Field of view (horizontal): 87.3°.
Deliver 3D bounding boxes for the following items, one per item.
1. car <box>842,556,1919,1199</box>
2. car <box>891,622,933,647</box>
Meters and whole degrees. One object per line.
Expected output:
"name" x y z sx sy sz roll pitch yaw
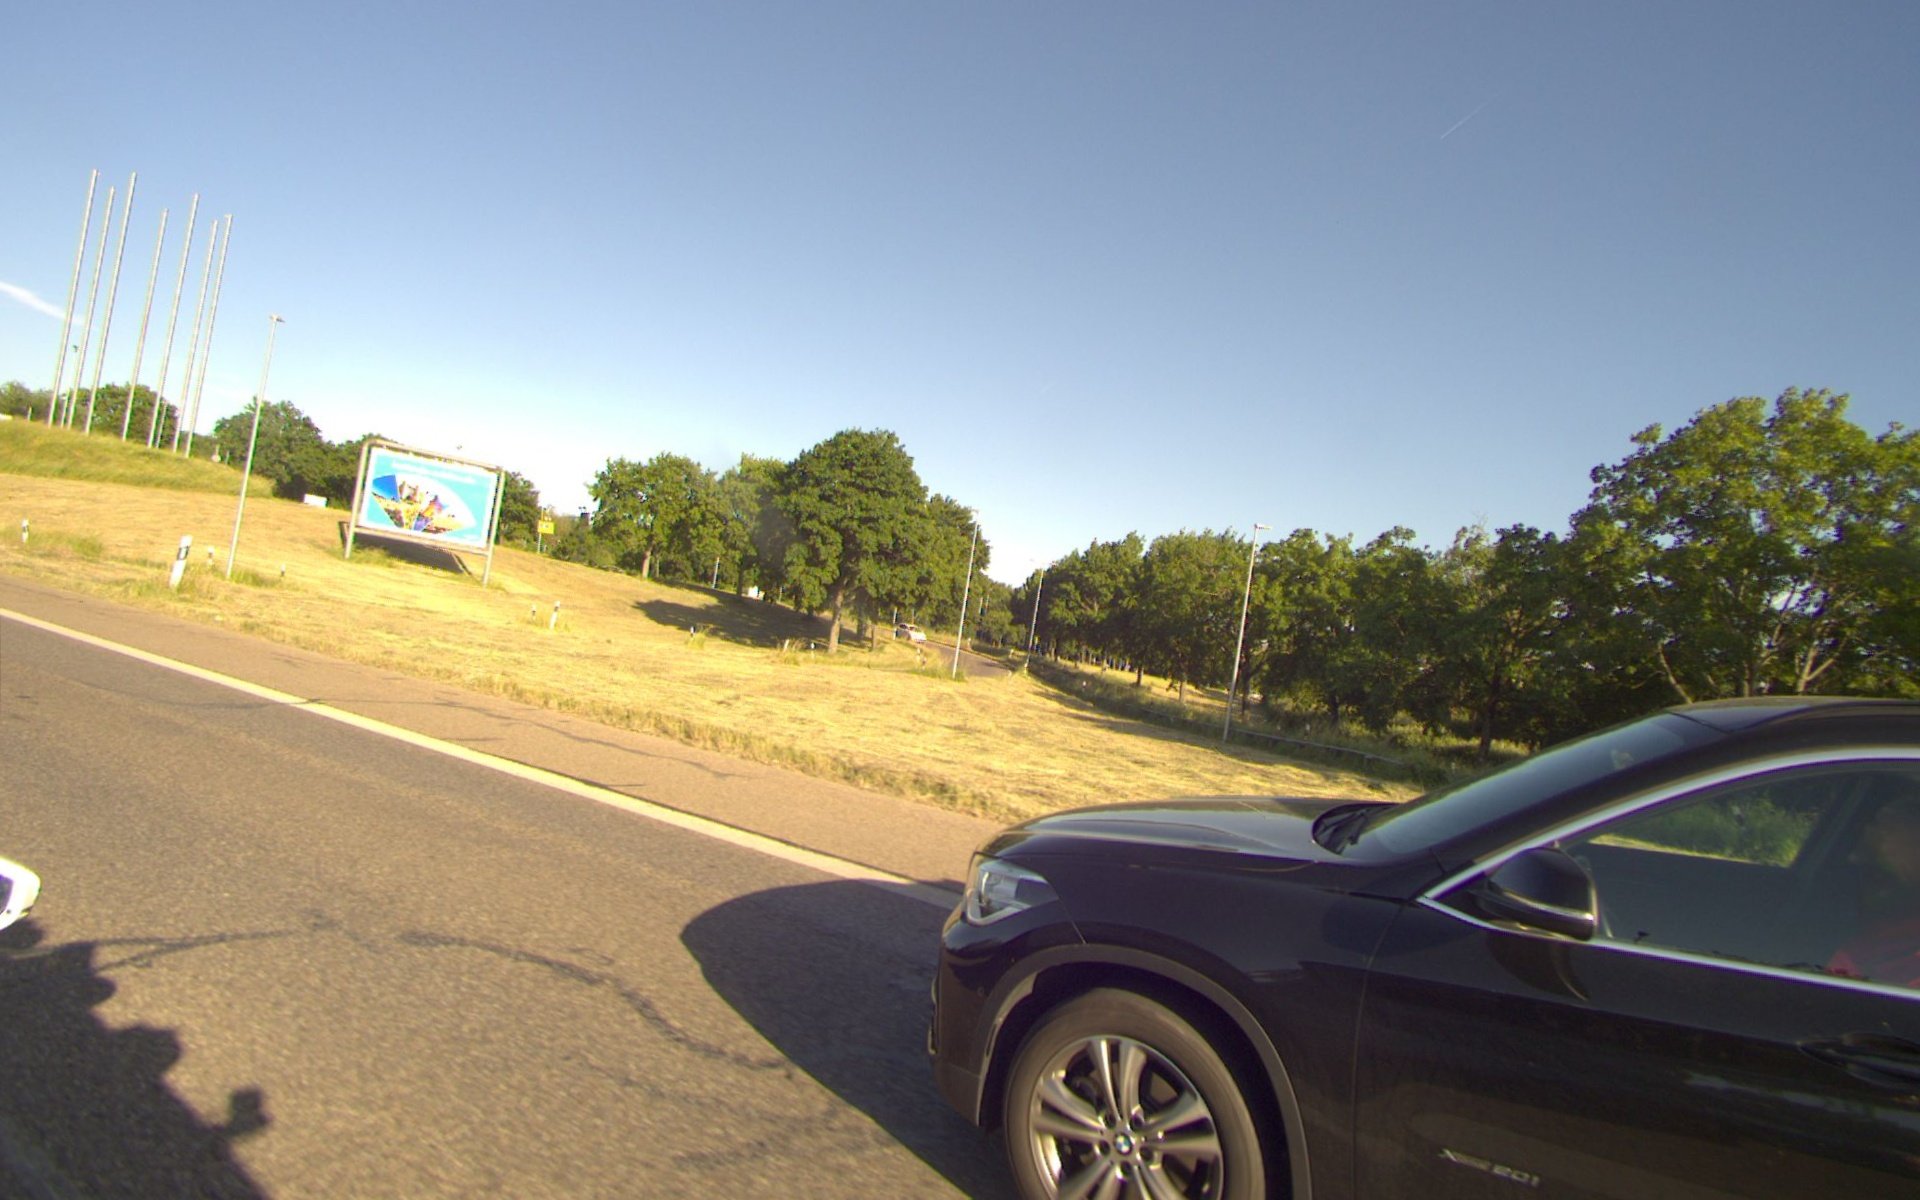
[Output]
"car" 2.111 1.002 2.344 4.445 1.591 1.759 7 -1 31
"car" -4.464 3.162 93.047 1.855 1.711 3.958 9 -1 -37
